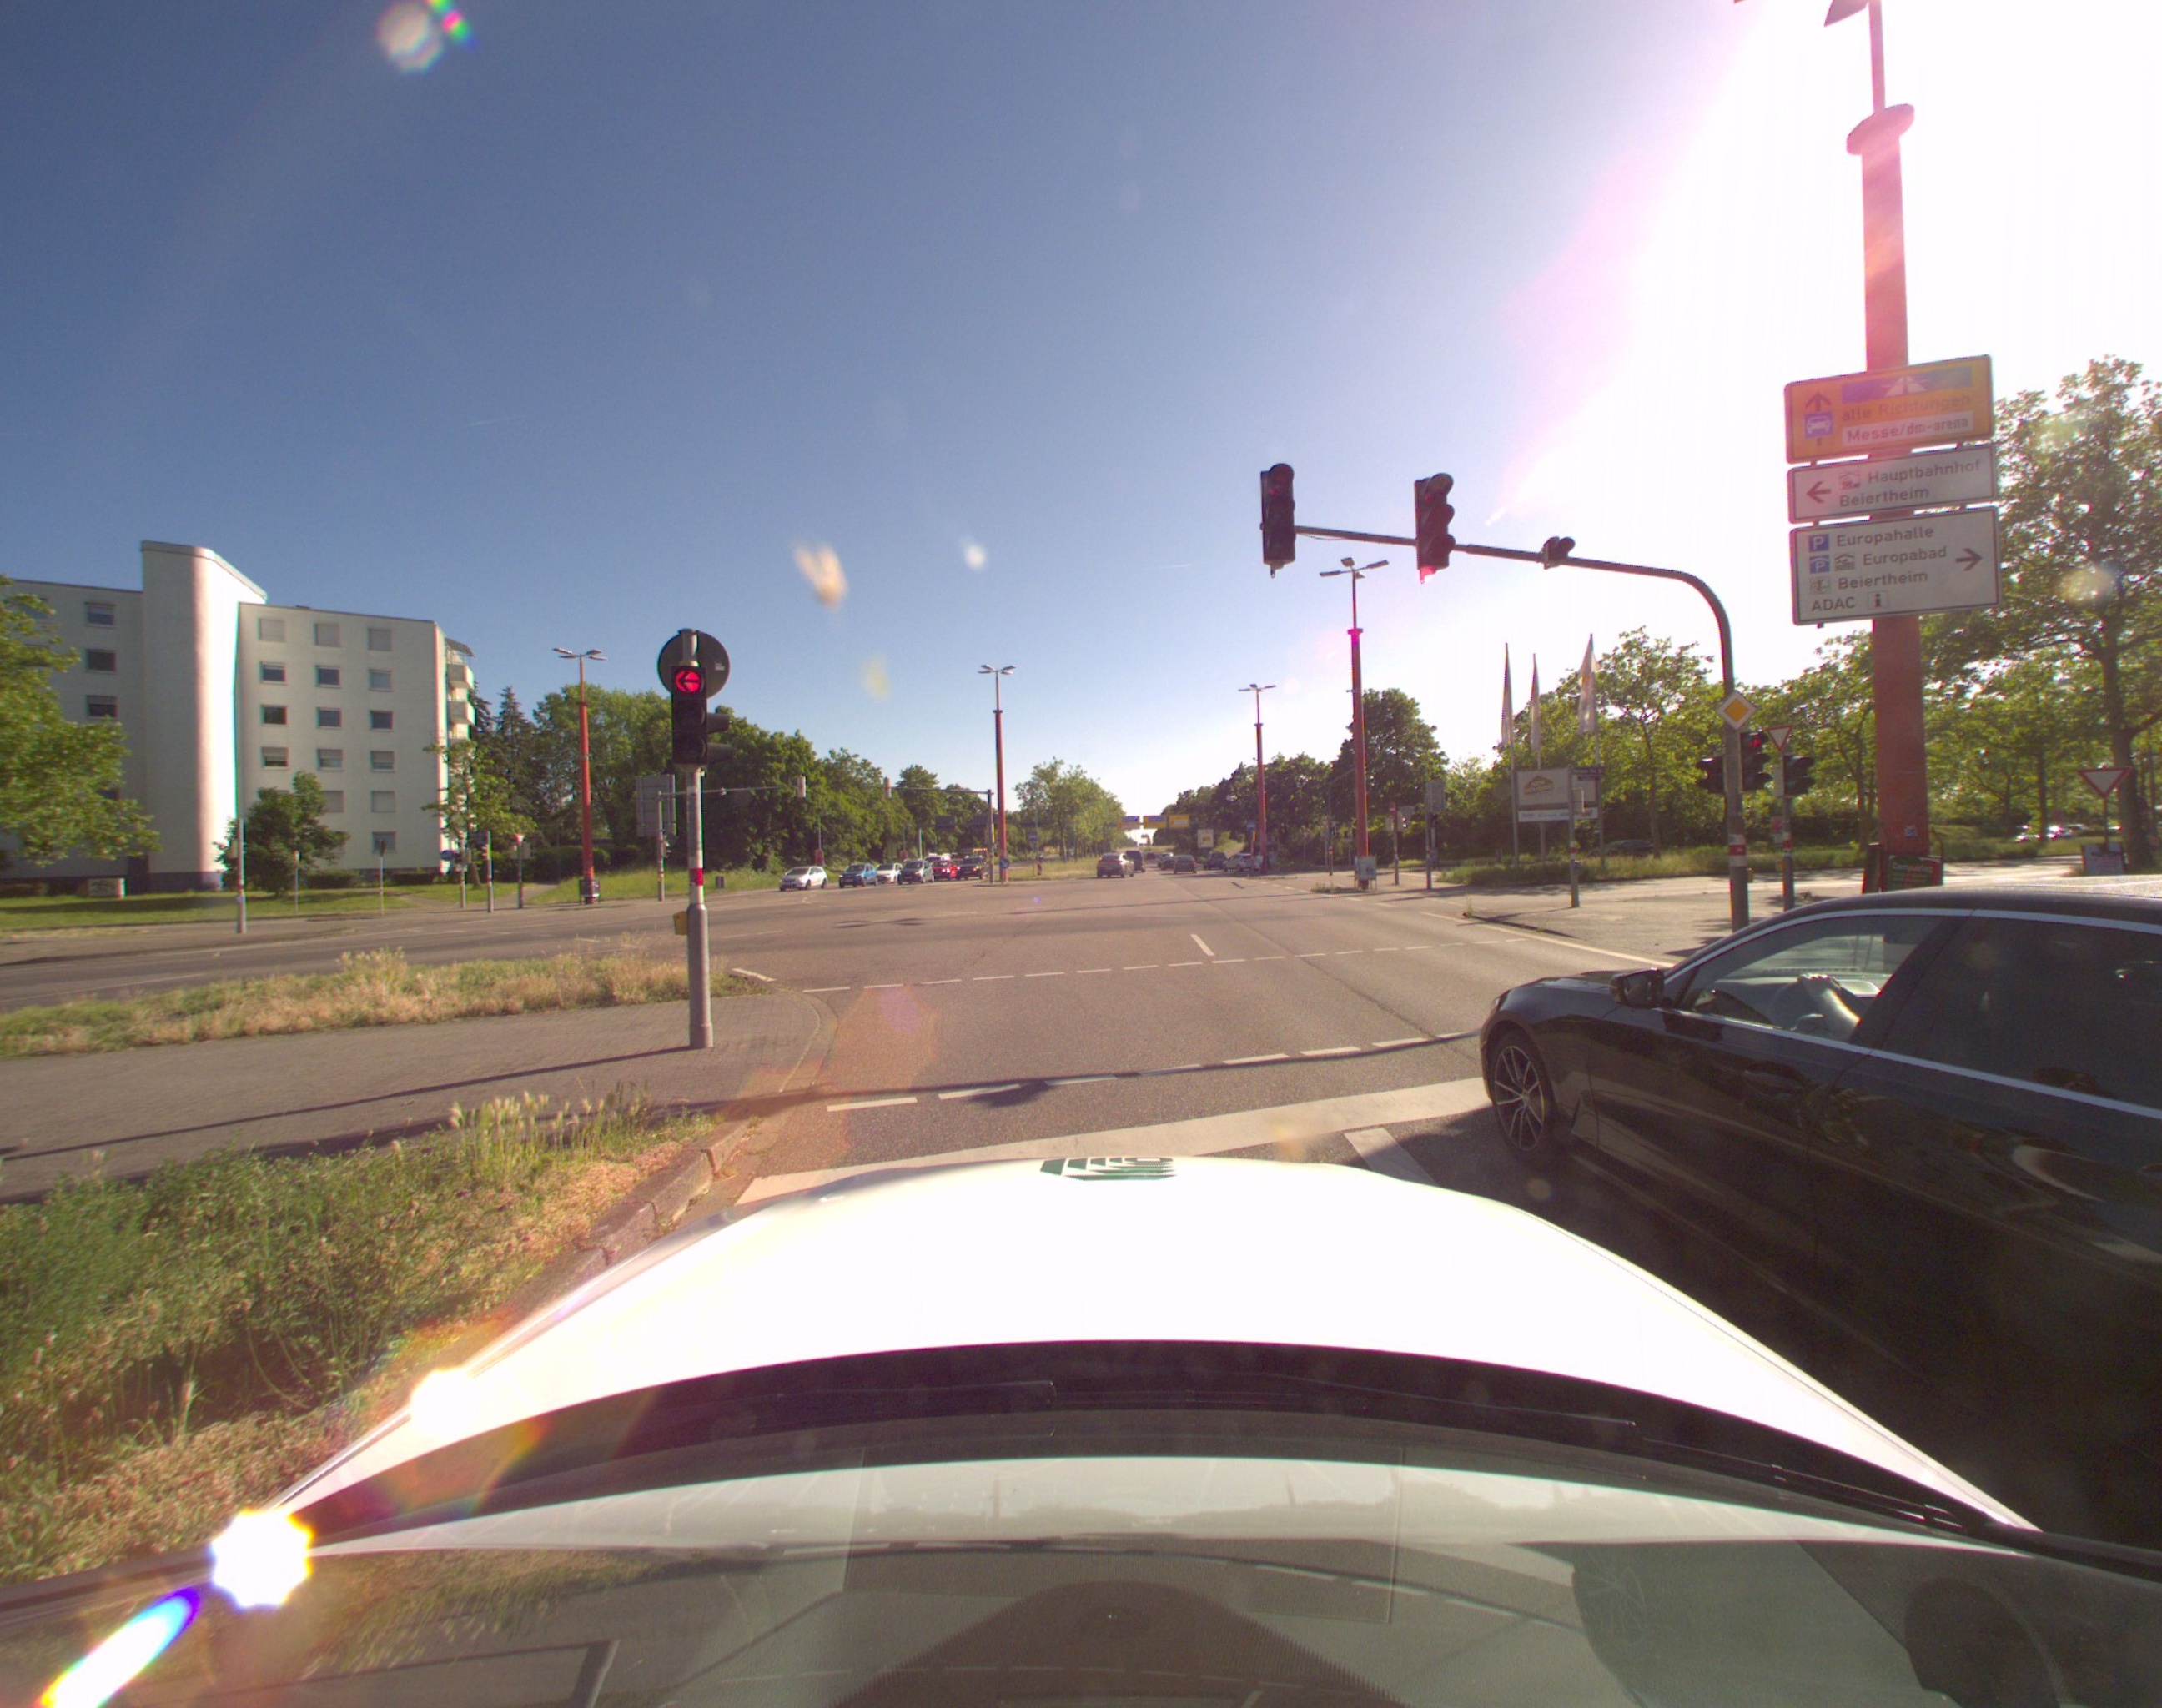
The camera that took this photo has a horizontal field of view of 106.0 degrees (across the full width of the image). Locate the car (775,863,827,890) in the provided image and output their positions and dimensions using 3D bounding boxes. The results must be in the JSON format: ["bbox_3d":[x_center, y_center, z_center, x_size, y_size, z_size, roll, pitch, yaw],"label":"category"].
[{"bbox_3d":[-17.479,1.388,50.997,1.754,1.532,3.936,-2,0,1],"label":"car"}]

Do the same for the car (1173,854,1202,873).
[{"bbox_3d":[8.171,0.696,62.122,1.748,1.350,4.378,-2,0,12],"label":"car"}]

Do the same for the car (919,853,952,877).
[{"bbox_3d":[-12.717,0.967,71.565,1.886,2.026,5.223,0,-1,1],"label":"car"}]

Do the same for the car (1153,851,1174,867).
[{"bbox_3d":[9.262,0.553,91.709,1.818,1.636,4.249,-2,0,-2],"label":"car"}]

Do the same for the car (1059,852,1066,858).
[{"bbox_3d":[-5.626,0.316,243.454,1.834,1.666,4.001,0,-1,2],"label":"car"}]

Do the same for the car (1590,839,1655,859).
[{"bbox_3d":[35.721,-0.343,53.737,3.443,1.207,1.613,-2,0,-13],"label":"car"}]

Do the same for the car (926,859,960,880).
[{"bbox_3d":[-9.904,1.084,58.679,1.733,1.362,3.613,-2,0,1],"label":"car"}]

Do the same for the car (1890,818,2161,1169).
[{"bbox_3d":[5.674,0.601,2.865,1.732,1.578,4.032,-2,0,3],"label":"car"}]

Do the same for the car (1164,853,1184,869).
[{"bbox_3d":[8.653,0.634,76.127,1.751,1.350,4.369,-2,0,5],"label":"car"}]

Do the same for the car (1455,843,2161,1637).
[{"bbox_3d":[2.927,0.687,2.376,1.861,1.398,4.448,-2,0,4],"label":"car"}]

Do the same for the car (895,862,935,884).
[{"bbox_3d":[-10.602,1.185,52.308,1.733,1.243,3.613,-2,0,1],"label":"car"}]

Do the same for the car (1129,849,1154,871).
[{"bbox_3d":[4.990,0.522,67.563,1.839,1.708,4.309,-2,0,2],"label":"car"}]

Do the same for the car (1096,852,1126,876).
[{"bbox_3d":[1.960,0.617,53.450,1.823,1.422,4.439,-2,0,2],"label":"car"}]

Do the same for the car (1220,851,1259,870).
[{"bbox_3d":[12.991,0.569,66.917,1.680,1.467,3.978,-2,0,-12],"label":"car"}]

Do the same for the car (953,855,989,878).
[{"bbox_3d":[-7.567,0.838,56.295,1.812,1.508,4.002,-2,0,2],"label":"car"}]

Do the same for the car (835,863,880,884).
[{"bbox_3d":[-14.086,1.208,51.421,1.733,1.243,3.613,-2,0,1],"label":"car"}]

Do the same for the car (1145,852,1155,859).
[{"bbox_3d":[13.532,0.277,159.740,1.674,1.435,4.065,-2,0,0],"label":"car"}]

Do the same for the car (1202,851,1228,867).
[{"bbox_3d":[12.729,0.469,77.404,1.773,1.485,4.330,-2,0,1],"label":"car"}]

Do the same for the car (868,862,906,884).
[{"bbox_3d":[-13.670,1.315,57.530,1.733,1.411,3.613,-2,0,1],"label":"car"}]
